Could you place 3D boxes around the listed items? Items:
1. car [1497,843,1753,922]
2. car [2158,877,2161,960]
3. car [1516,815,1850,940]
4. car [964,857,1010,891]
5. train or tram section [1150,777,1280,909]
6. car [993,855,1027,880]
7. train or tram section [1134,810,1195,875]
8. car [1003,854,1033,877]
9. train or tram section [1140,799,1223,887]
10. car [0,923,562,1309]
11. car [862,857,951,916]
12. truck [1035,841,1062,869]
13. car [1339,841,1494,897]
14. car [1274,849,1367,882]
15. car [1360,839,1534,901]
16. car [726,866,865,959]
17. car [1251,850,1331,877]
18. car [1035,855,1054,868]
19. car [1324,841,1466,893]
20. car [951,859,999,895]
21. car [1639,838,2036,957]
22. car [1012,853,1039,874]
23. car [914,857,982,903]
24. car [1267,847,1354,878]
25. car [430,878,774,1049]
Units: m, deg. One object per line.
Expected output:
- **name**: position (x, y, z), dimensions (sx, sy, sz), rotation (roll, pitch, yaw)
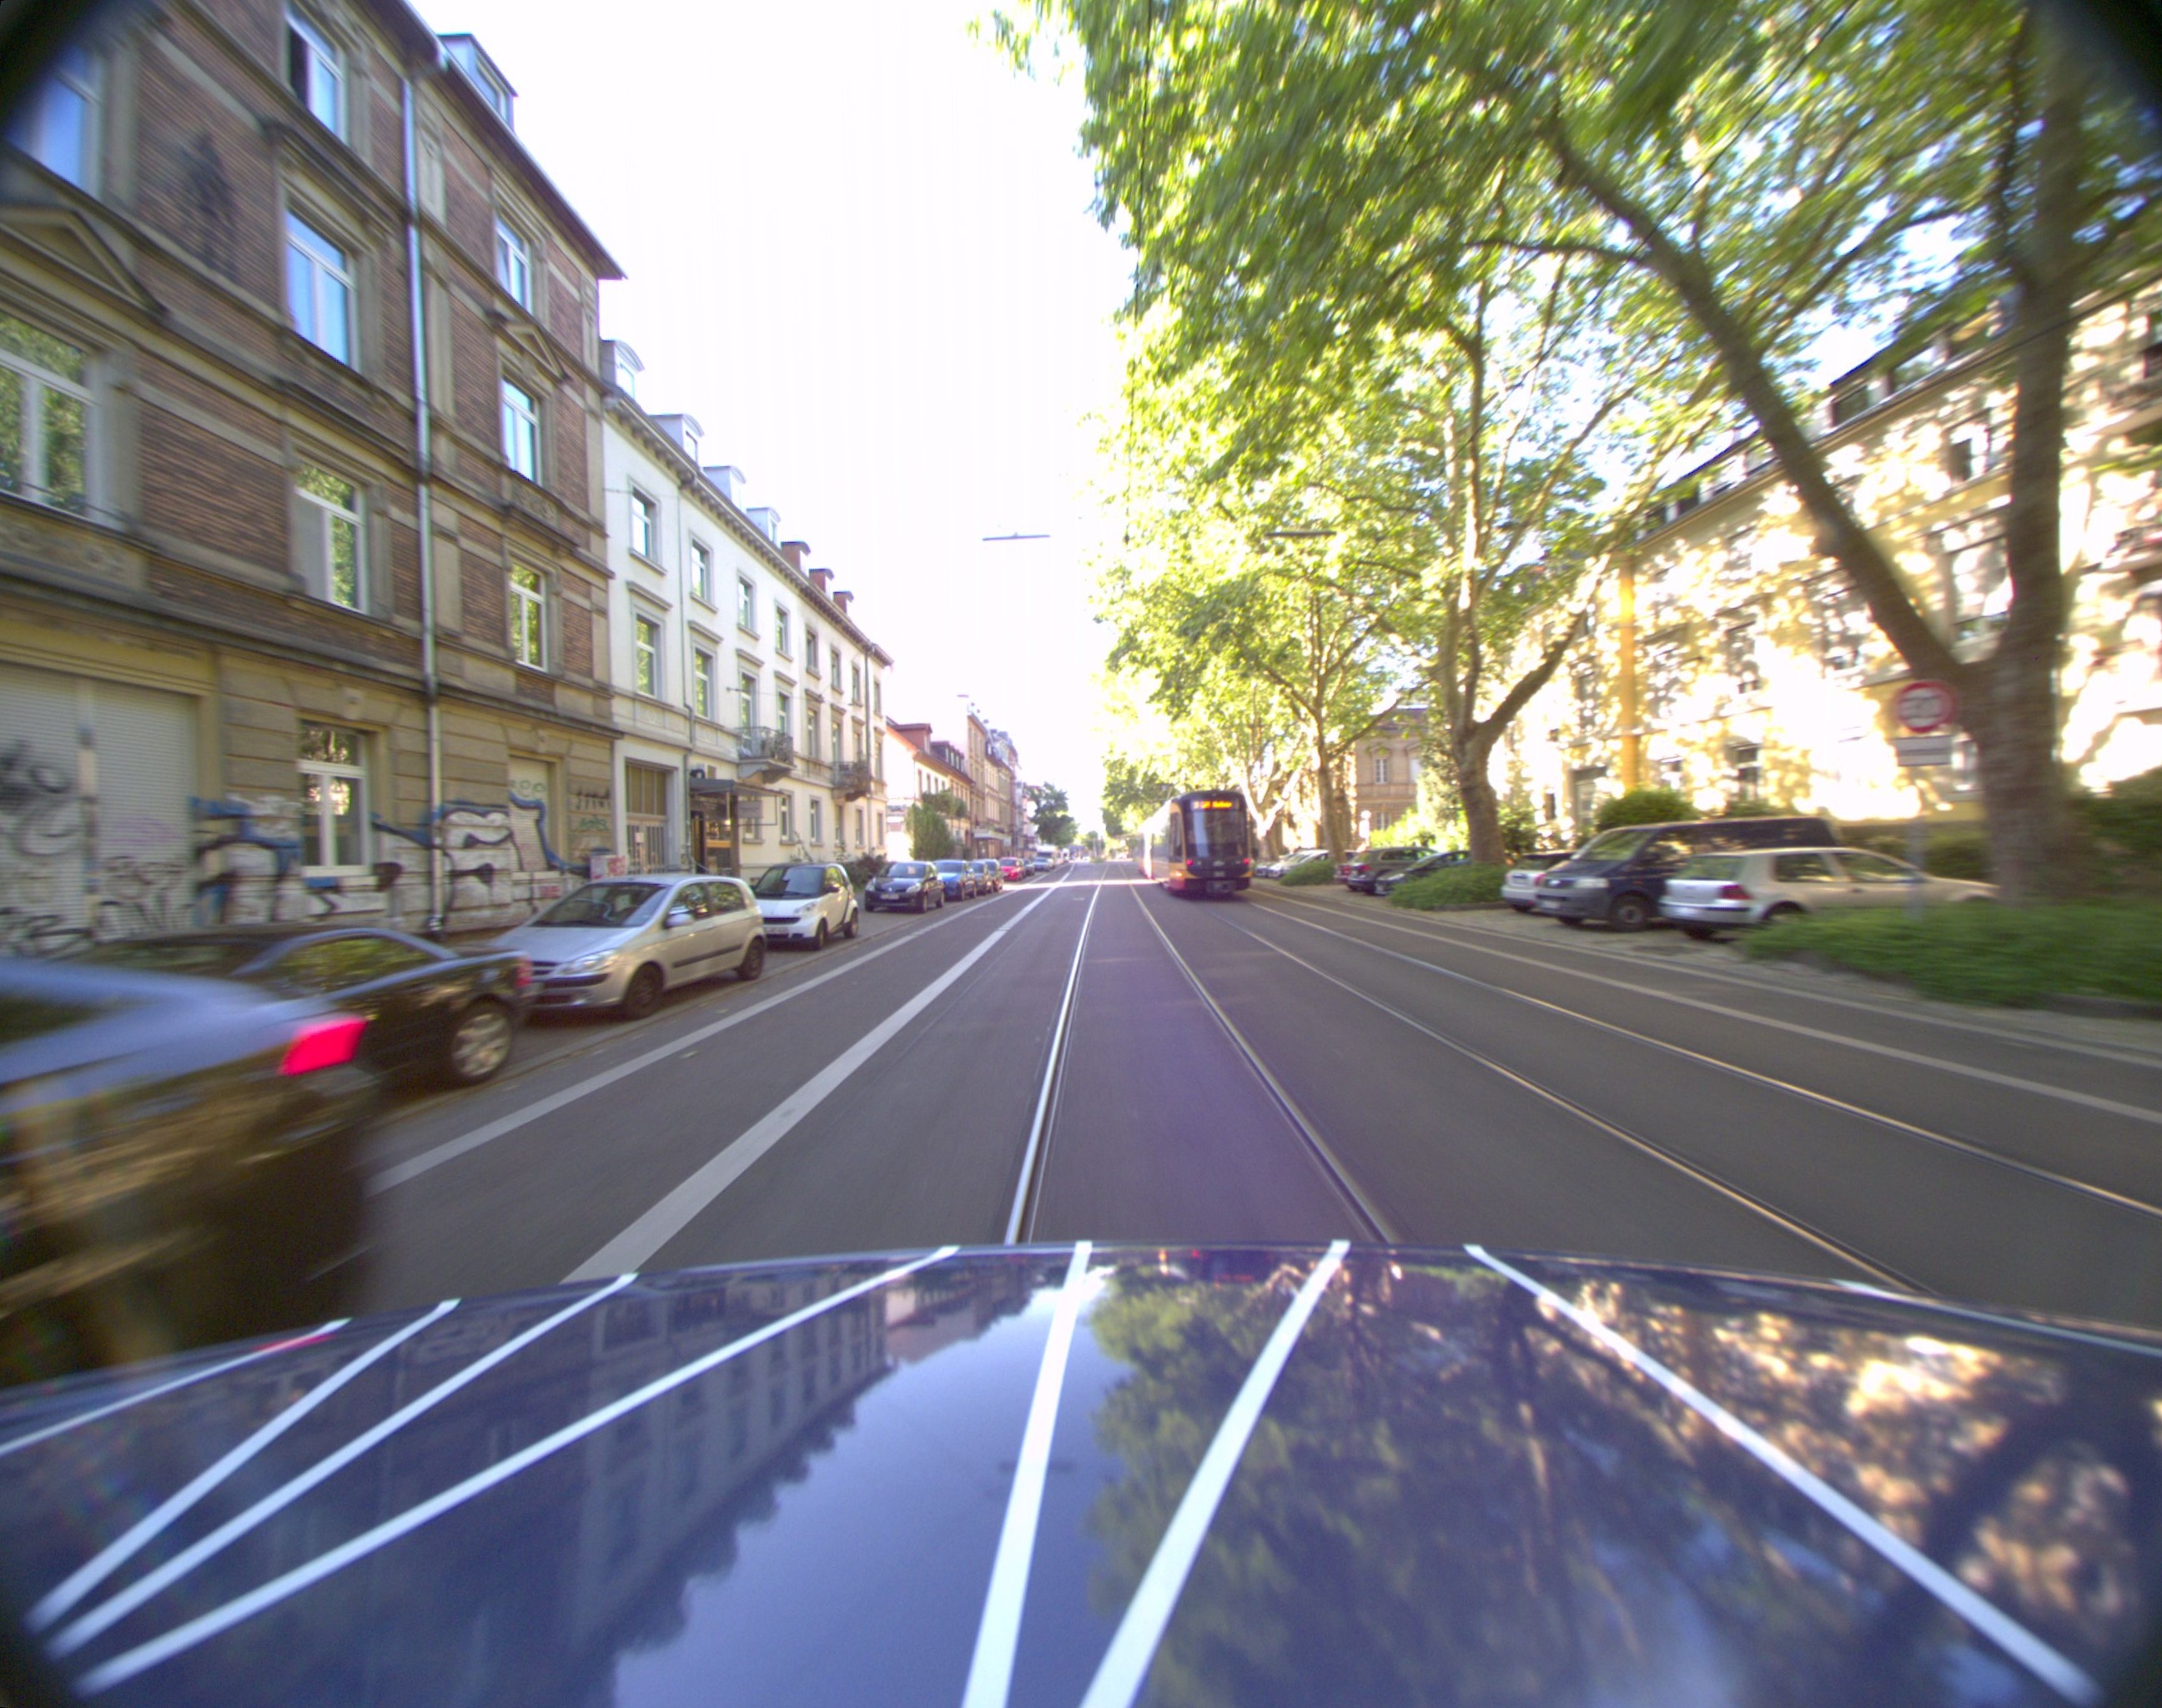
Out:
- **car**: position (11.858, 0.606, 16.778), dimensions (4.365, 1.400, 1.658), rotation (-3, 0, 1)
- **car**: position (10.630, 0.745, 4.662), dimensions (4.943, 1.437, 2.000), rotation (-3, 0, 3)
- **car**: position (11.037, 0.416, 14.191), dimensions (4.639, 1.896, 1.922), rotation (-3, 0, 0)
- **car**: position (-4.653, 0.958, 38.035), dimensions (1.729, 1.559, 3.686), rotation (0, 0, 2)
- **train or tram section**: position (4.329, -0.394, 27.203), dimensions (2.944, 3.598, 11.062), rotation (-3, 1, 2)
- **car**: position (-4.598, 0.839, 49.491), dimensions (1.702, 1.559, 3.686), rotation (0, 0, 2)
- **train or tram section**: position (5.267, -0.730, 50.194), dimensions (2.944, 3.598, 12.410), rotation (-3, 1, 2)
- **car**: position (-4.500, 0.788, 54.712), dimensions (1.702, 1.559, 3.686), rotation (0, 0, 2)
- **train or tram section**: position (4.784, -0.555, 38.356), dimensions (2.944, 3.598, 11.259), rotation (-3, 1, 2)
- **car**: position (-5.320, 1.248, 4.675), dimensions (1.653, 1.265, 3.724), rotation (0, 1, 1)
- **car**: position (-5.092, 0.898, 22.648), dimensions (1.635, 1.497, 3.907), rotation (3, 1, 1)
- **truck**: position (-4.006, 0.040, 94.638), dimensions (2.842, 3.145, 7.292), rotation (-3, 1, 1)
- **car**: position (11.380, 0.503, 26.005), dimensions (4.365, 1.603, 2.000), rotation (-3, 0, 1)
- **car**: position (11.507, 0.529, 36.673), dimensions (3.998, 1.422, 1.528), rotation (-2, 1, -2)
- **car**: position (11.281, 0.493, 23.677), dimensions (4.365, 1.603, 2.000), rotation (-3, 0, 1)
- **car**: position (-5.301, 1.026, 14.449), dimensions (1.514, 1.534, 2.821), rotation (0, 1, 1)
- **car**: position (11.660, 0.500, 42.317), dimensions (3.998, 1.367, 1.411), rotation (-2, 1, -2)
- **car**: position (-3.783, 0.784, 79.855), dimensions (1.702, 1.324, 3.686), rotation (0, 0, 2)
- **car**: position (11.542, 0.461, 28.135), dimensions (4.365, 1.603, 2.000), rotation (-3, 0, 1)
- **car**: position (-4.690, 0.977, 33.879), dimensions (1.542, 1.497, 3.359), rotation (0, 0, 2)
- **car**: position (11.244, 0.623, 11.556), dimensions (4.068, 1.437, 1.869), rotation (-3, 0, 1)
- **car**: position (-4.444, 0.746, 61.124), dimensions (1.702, 1.559, 3.686), rotation (0, 0, 2)
- **car**: position (-4.989, 0.939, 29.005), dimensions (1.729, 1.497, 3.907), rotation (3, 1, 2)
- **car**: position (11.807, 0.428, 39.225), dimensions (3.998, 1.422, 1.601), rotation (-2, 1, -2)
- **car**: position (-5.296, 1.095, 9.064), dimensions (1.610, 1.444, 3.741), rotation (0, 1, 3)
